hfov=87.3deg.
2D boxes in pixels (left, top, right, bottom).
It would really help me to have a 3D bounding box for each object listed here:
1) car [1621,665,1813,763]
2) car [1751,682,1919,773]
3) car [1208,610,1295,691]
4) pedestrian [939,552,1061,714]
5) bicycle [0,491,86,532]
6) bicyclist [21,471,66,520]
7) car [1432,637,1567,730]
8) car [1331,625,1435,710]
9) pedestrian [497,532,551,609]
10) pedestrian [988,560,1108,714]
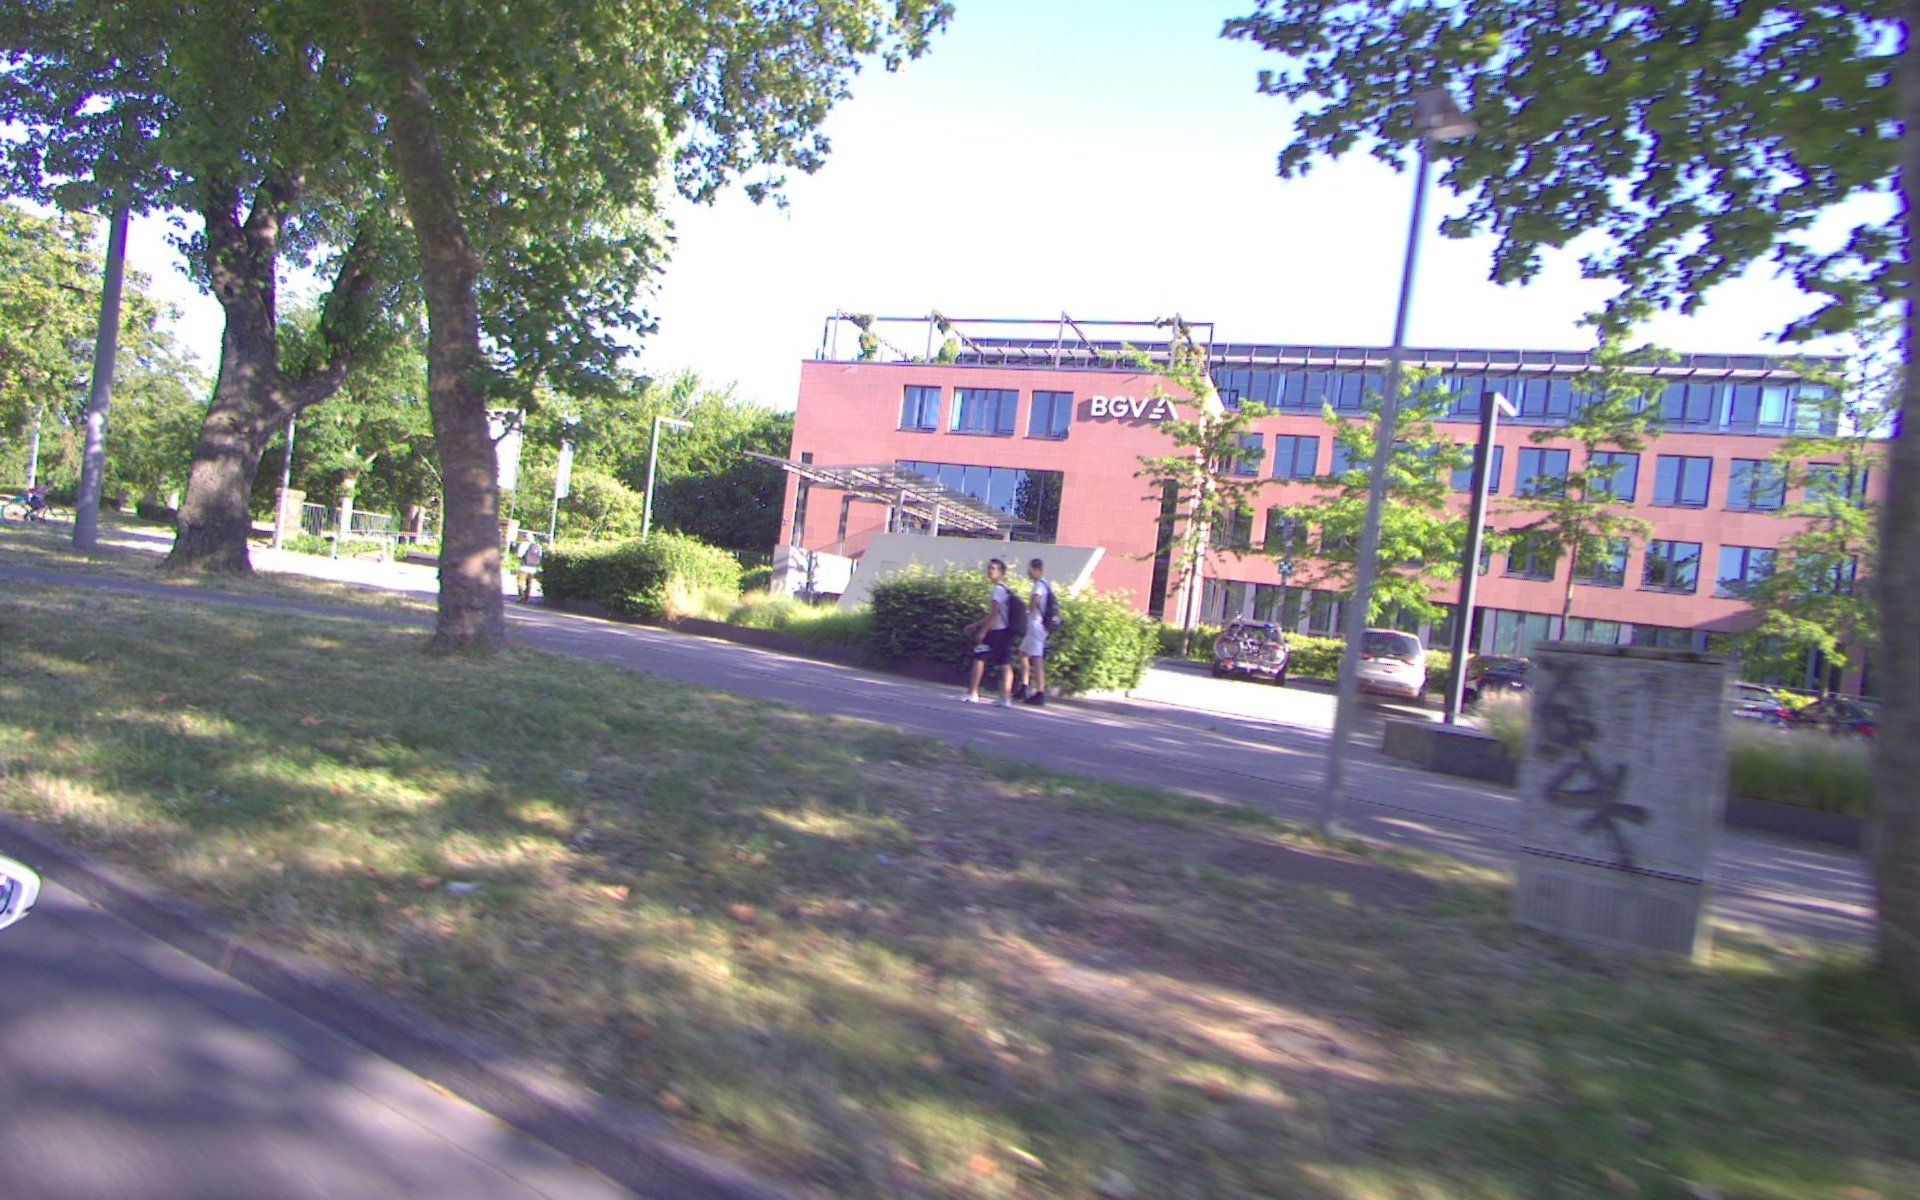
[{"bbox_3d":[17.487,2.548,23.566,2.034,1.618,4.684,8,1,19],"label":"car"},{"bbox_3d":[19.621,2.771,22.097,1.937,1.401,4.684,8,1,19],"label":"car"},{"bbox_3d":[7.741,1.270,26.622,1.814,1.735,4.685,8,1,17],"label":"car"},{"bbox_3d":[0.477,0.388,12.219,1.070,1.816,0.749,7,2,38],"label":"pedestrian"},{"bbox_3d":[-31.576,-3.038,34.504,0.754,1.053,2.260,8,0,36],"label":"bicycle"},{"bbox_3d":[-31.487,-3.583,34.548,0.755,1.515,0.903,8,1,36],"label":"bicyclist"},{"bbox_3d":[12.917,1.917,24.417,1.814,1.735,4.685,8,1,17],"label":"car"},{"bbox_3d":[10.762,1.639,25.888,1.814,1.735,4.685,8,1,17],"label":"car"},{"bbox_3d":[-9.331,-0.629,21.509,0.771,1.559,0.649,7,2,38],"label":"pedestrian"},{"bbox_3d":[1.129,0.468,12.916,1.093,1.816,0.804,7,2,38],"label":"pedestrian"}]
